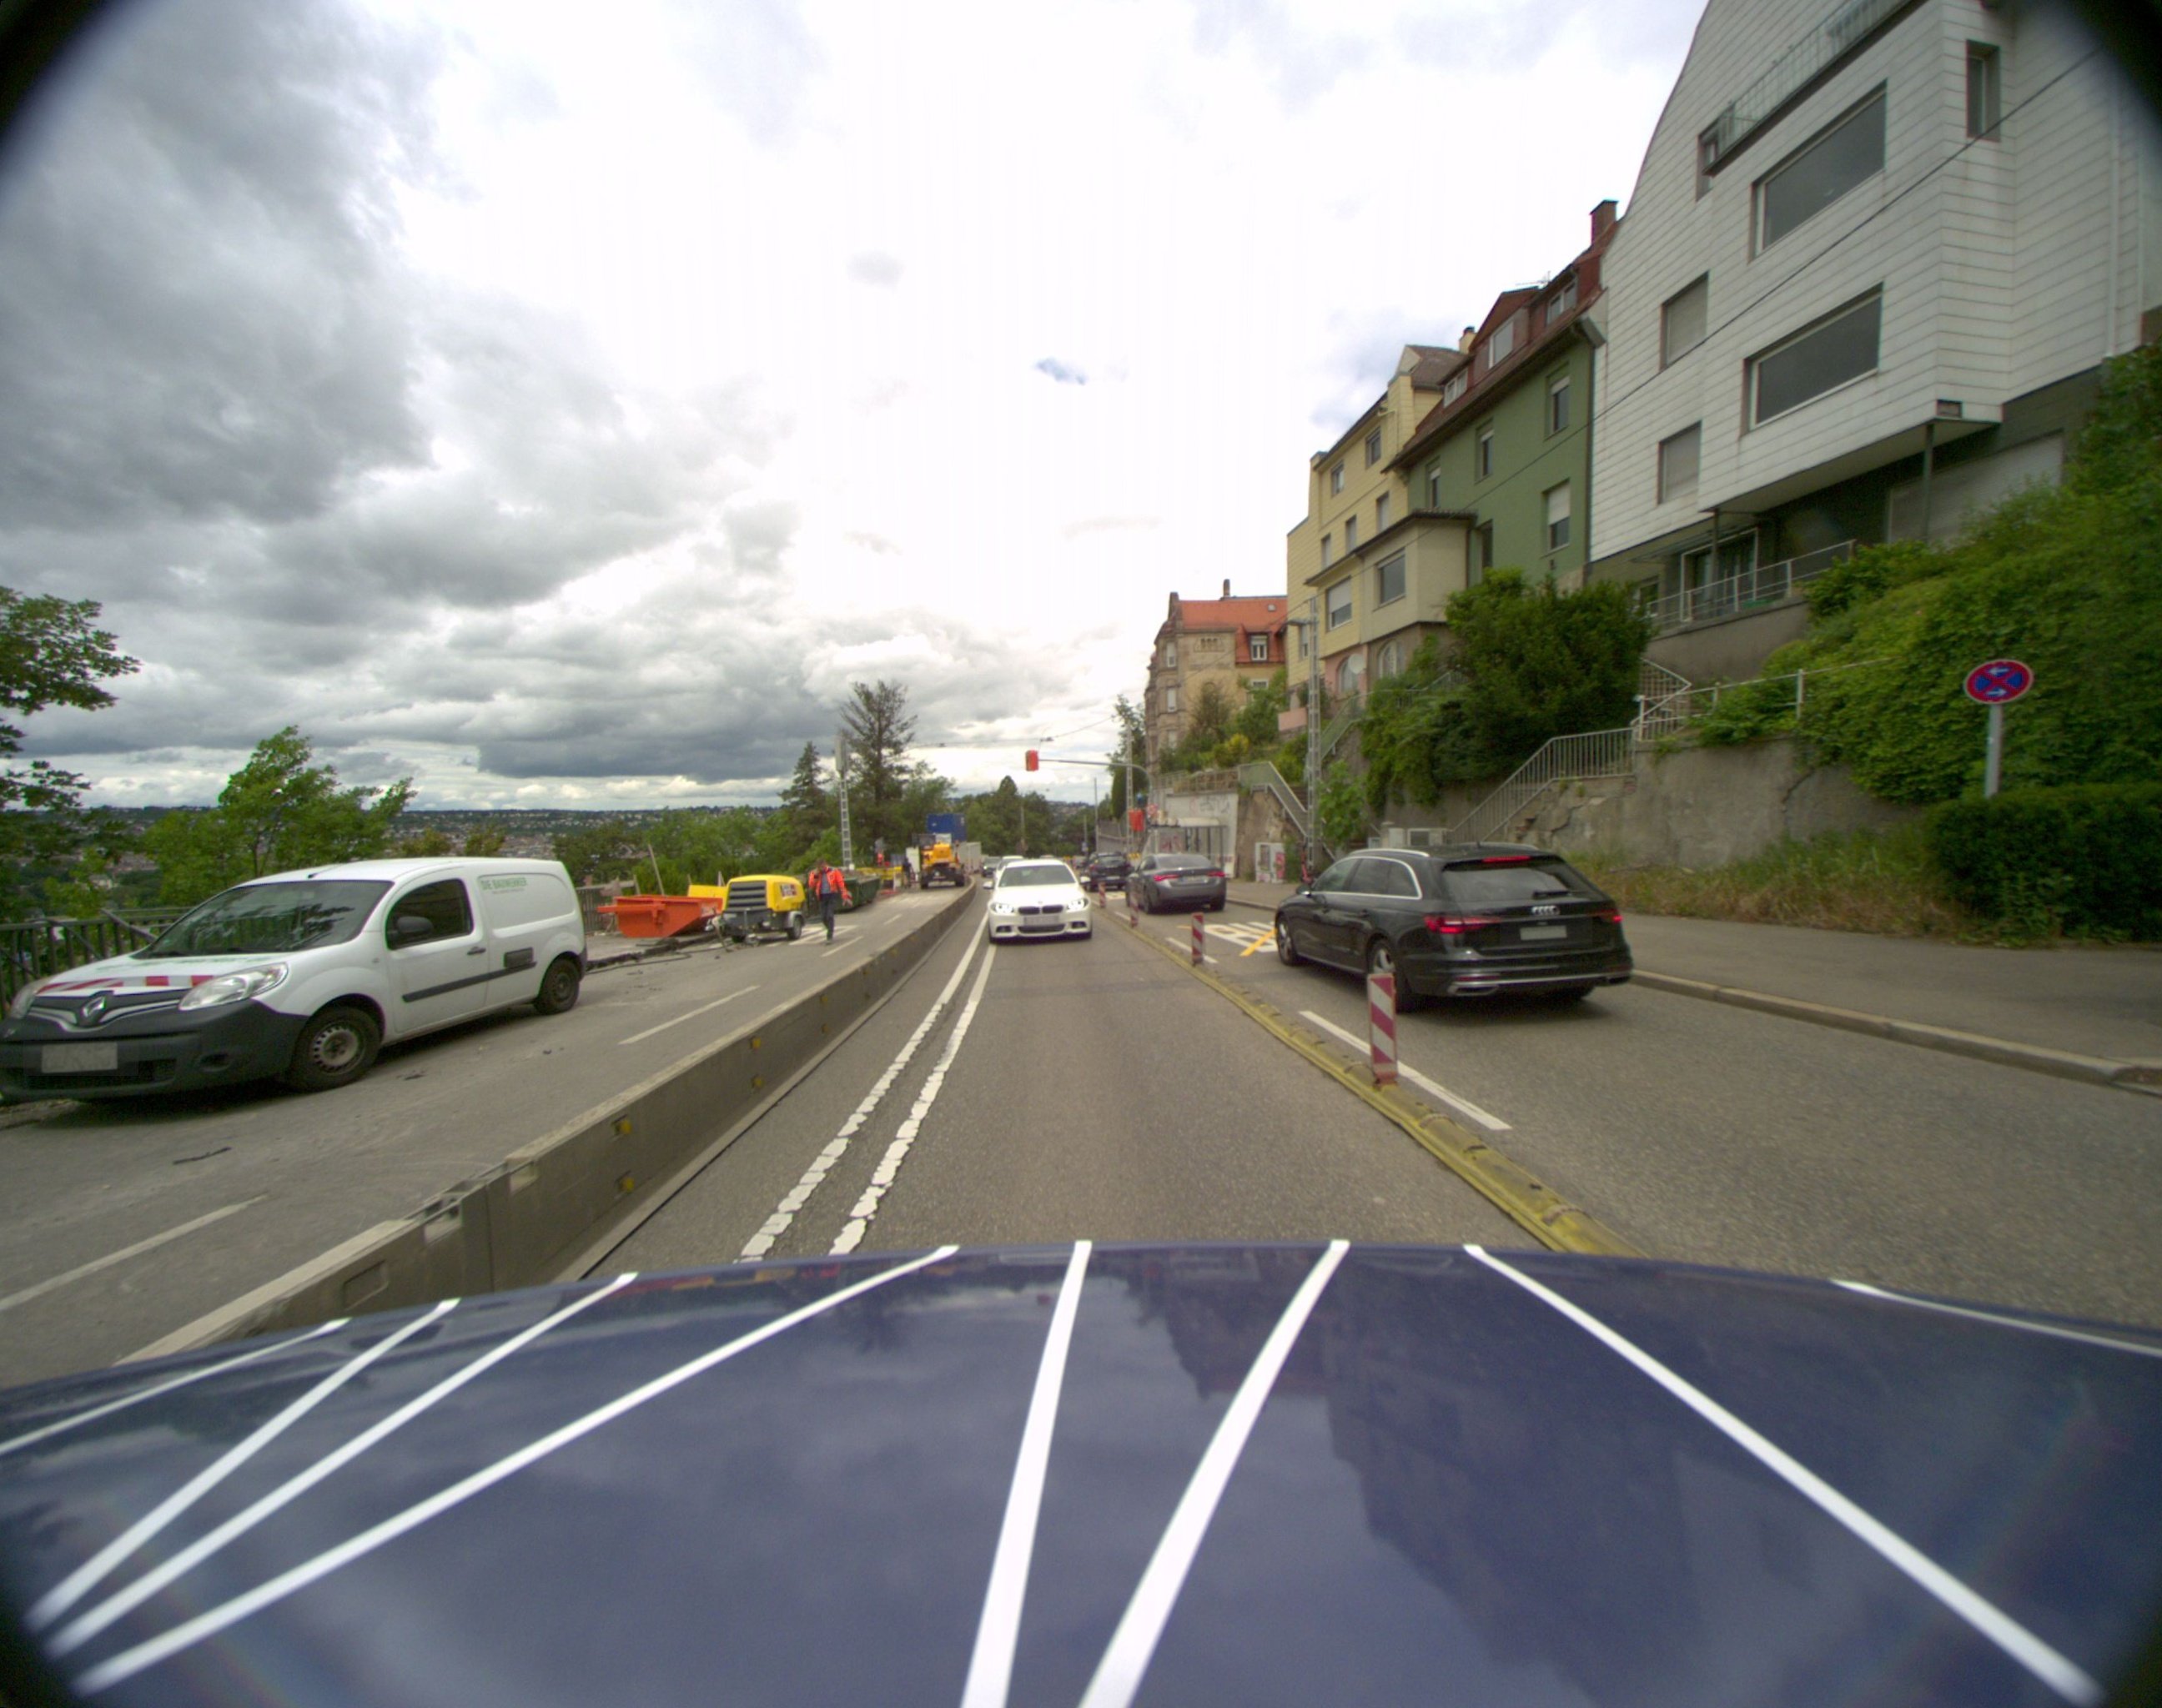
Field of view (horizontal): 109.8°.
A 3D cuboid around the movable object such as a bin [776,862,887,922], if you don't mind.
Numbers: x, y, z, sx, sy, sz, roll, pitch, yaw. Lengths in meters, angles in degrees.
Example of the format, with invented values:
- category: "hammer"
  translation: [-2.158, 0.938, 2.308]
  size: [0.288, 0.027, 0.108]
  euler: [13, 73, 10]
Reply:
- category: "movable object such as a bin"
  translation: [-8.328, 1.162, 26.156]
  size: [2.382, 1.552, 7.093]
  euler: [-3, 1, -8]

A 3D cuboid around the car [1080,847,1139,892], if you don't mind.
- category: "car"
  translation: [1.088, 0.582, 31.009]
  size: [1.820, 1.613, 3.817]
  euler: [-3, 0, -5]

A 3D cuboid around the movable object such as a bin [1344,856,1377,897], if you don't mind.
- category: "movable object such as a bin"
  translation: [6.796, 0.540, 18.464]
  size: [0.469, 0.929, 0.624]
  euler: [-4, 1, -7]

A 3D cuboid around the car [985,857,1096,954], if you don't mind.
- category: "car"
  translation: [-0.806, 0.879, 14.965]
  size: [1.792, 1.472, 4.243]
  euler: [-3, 1, -3]

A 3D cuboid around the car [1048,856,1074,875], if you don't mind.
- category: "car"
  translation: [-1.624, 0.945, 59.910]
  size: [1.731, 1.411, 3.819]
  euler: [-2, -1, -6]

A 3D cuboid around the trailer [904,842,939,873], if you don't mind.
- category: "trailer"
  translation: [-13.551, 0.242, 64.779]
  size: [2.112, 2.535, 5.117]
  euler: [0, 0, -3]

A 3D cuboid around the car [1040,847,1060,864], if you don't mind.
- category: "car"
  translation: [-3.138, 0.178, 76.108]
  size: [1.847, 1.590, 4.262]
  euler: [-2, 0, -3]

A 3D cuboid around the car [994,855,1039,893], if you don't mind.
- category: "car"
  translation: [-2.876, 0.844, 34.124]
  size: [1.793, 1.472, 4.242]
  euler: [-3, 1, -5]

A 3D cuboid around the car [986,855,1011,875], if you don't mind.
- category: "car"
  translation: [-6.573, 0.880, 61.007]
  size: [1.799, 1.501, 3.998]
  euler: [1, 1, -4]

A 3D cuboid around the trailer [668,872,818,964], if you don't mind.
- category: "trailer"
  translation: [-6.519, 1.158, 15.072]
  size: [1.292, 1.466, 3.633]
  euler: [-3, 0, 0]

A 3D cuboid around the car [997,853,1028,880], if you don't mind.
- category: "car"
  translation: [-4.212, 0.751, 46.919]
  size: [1.793, 1.542, 4.243]
  euler: [-1, 0, -5]

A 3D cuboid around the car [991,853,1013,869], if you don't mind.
- category: "car"
  translation: [-7.790, 0.685, 75.145]
  size: [1.799, 1.501, 3.998]
  euler: [1, 1, -2]

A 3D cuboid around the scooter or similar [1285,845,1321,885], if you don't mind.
- category: "scooter or similar"
  translation: [6.998, 0.336, 24.006]
  size: [0.461, 1.198, 1.434]
  euler: [-4, 1, -9]

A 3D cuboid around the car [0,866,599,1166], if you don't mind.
- category: "car"
  translation: [-6.619, 1.058, 6.878]
  size: [1.837, 1.769, 4.267]
  euler: [-2, 0, -2]

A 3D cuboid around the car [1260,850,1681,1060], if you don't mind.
- category: "car"
  translation: [3.379, 0.730, 7.732]
  size: [1.800, 1.438, 4.361]
  euler: [-3, 0, -3]

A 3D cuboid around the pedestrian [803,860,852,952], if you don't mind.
- category: "pedestrian"
  translation: [-4.907, 0.980, 14.750]
  size: [0.647, 1.692, 0.849]
  euler: [-3, 1, -7]

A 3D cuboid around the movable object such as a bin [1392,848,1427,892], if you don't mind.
- category: "movable object such as a bin"
  translation: [8.028, 0.387, 18.586]
  size: [0.469, 1.047, 0.624]
  euler: [-4, 1, -7]

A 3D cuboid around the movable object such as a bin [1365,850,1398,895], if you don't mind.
- category: "movable object such as a bin"
  translation: [7.305, 0.441, 18.489]
  size: [0.469, 1.047, 0.624]
  euler: [-4, 1, -7]

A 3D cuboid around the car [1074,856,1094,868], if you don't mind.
- category: "car"
  translation: [0.411, 0.904, 89.559]
  size: [1.802, 1.365, 4.391]
  euler: [1, 0, 8]

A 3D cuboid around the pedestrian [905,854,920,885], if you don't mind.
- category: "pedestrian"
  translation: [-9.761, 0.907, 43.986]
  size: [0.692, 1.784, 0.539]
  euler: [-2, 0, -19]

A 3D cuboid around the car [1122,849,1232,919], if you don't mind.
- category: "car"
  translation: [2.288, 0.657, 19.267]
  size: [1.801, 1.473, 4.326]
  euler: [-4, 1, -5]

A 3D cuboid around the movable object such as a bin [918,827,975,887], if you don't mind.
- category: "movable object such as a bin"
  translation: [-7.836, 0.173, 44.158]
  size: [2.821, 3.053, 7.815]
  euler: [-3, 0, -11]
